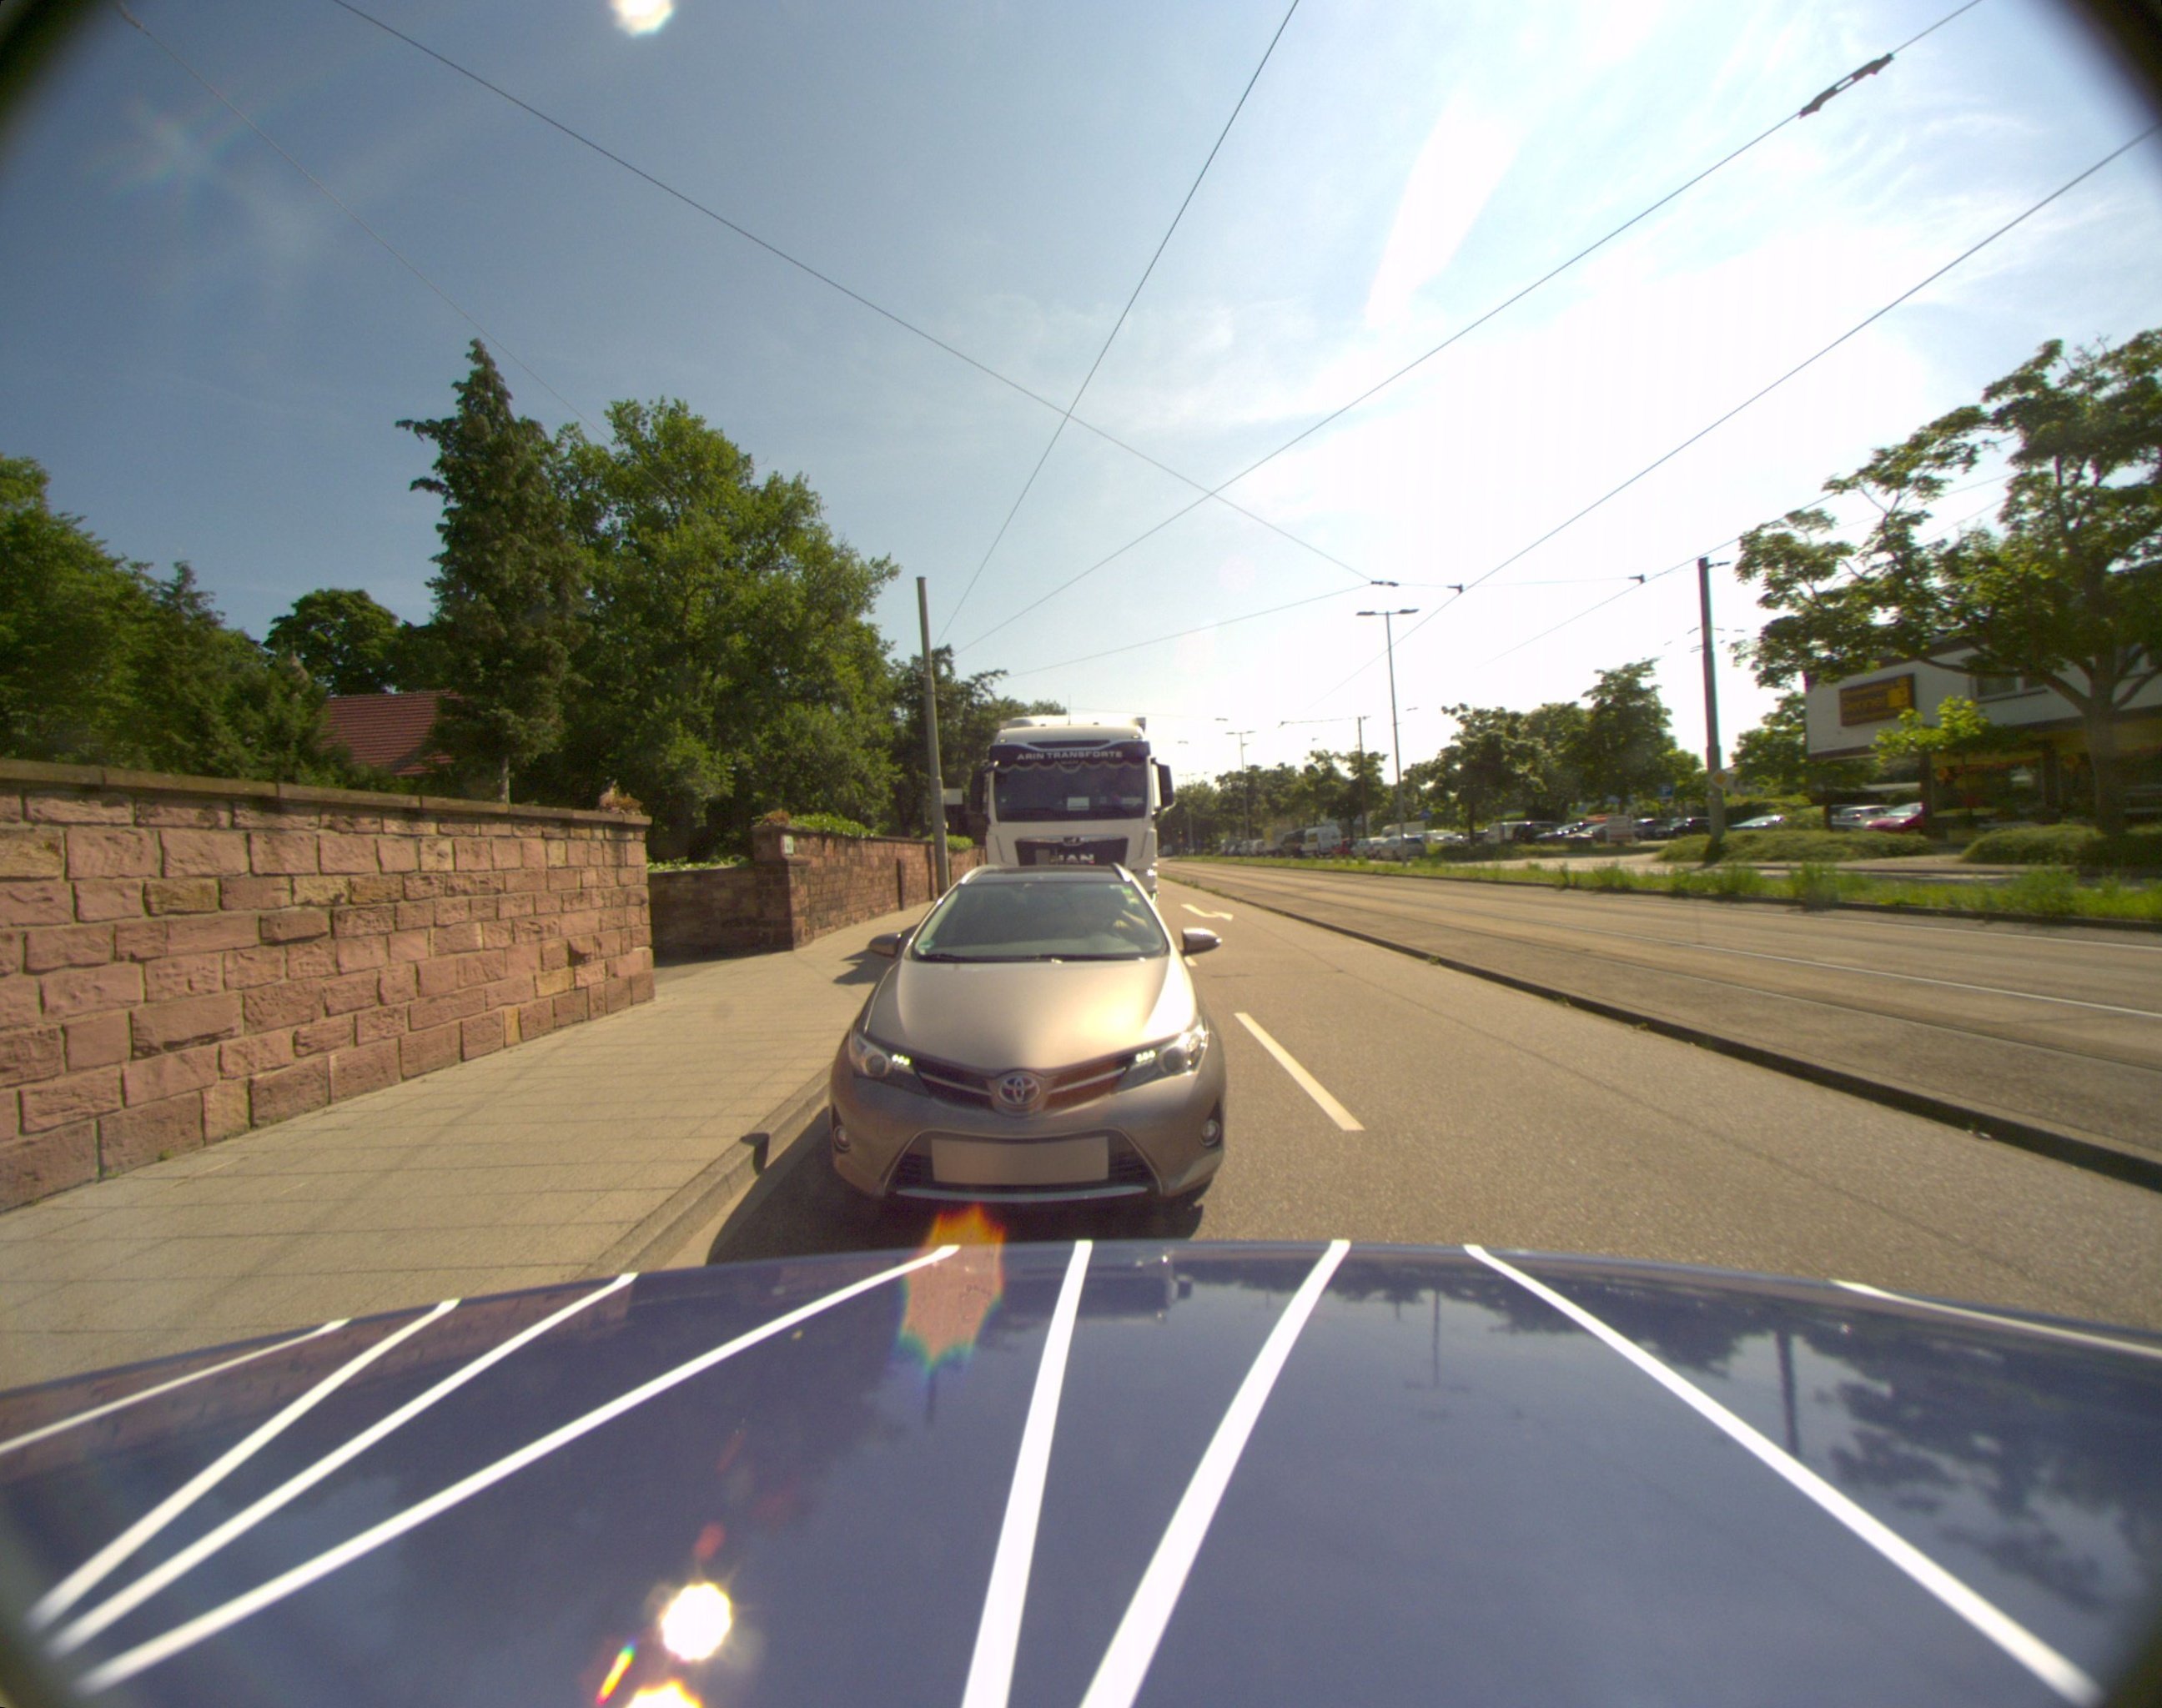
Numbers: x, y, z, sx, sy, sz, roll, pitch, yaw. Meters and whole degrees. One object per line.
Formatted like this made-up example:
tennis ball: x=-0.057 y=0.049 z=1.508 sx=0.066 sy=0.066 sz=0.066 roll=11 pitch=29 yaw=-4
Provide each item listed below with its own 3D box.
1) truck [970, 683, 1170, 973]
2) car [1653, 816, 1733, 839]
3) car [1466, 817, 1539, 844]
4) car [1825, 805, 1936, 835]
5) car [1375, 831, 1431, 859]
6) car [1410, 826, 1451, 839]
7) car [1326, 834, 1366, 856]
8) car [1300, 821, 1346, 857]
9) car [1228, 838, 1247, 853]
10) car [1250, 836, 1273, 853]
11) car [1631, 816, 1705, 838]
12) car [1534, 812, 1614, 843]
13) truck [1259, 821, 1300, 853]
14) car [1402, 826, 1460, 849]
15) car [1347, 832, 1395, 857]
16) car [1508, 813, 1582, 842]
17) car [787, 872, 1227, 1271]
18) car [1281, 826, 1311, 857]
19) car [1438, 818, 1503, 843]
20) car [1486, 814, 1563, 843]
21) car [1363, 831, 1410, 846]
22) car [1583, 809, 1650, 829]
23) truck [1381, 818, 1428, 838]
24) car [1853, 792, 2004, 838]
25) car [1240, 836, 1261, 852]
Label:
truck: x=-0.054 y=-0.406 z=15.082 sx=2.628 sy=3.906 sz=9.285 roll=-2 pitch=1 yaw=1
car: x=44.049 y=-1.899 z=54.747 sx=4.252 sy=1.327 sz=1.676 roll=-3 pitch=0 yaw=2
car: x=30.534 y=-1.687 z=55.137 sx=4.117 sy=1.728 sz=1.990 roll=-3 pitch=1 yaw=-2
car: x=44.297 y=-1.874 z=42.169 sx=4.252 sy=1.327 sz=1.676 roll=-3 pitch=0 yaw=2
car: x=20.334 y=-0.570 z=48.215 sx=1.675 sy=1.524 sz=4.256 roll=-6 pitch=0 yaw=1
car: x=43.740 y=-2.629 z=95.106 sx=4.253 sy=1.327 sz=1.676 roll=-3 pitch=0 yaw=1
car: x=20.476 y=-0.673 z=58.754 sx=1.675 sy=1.524 sz=3.793 roll=-6 pitch=0 yaw=1
car: x=20.284 y=-1.229 z=63.989 sx=2.062 sy=2.638 sz=5.203 roll=-6 pitch=0 yaw=1
car: x=20.626 y=-1.093 z=100.071 sx=1.502 sy=1.775 sz=3.687 roll=-6 pitch=0 yaw=0
car: x=20.699 y=-1.059 z=87.371 sx=1.502 sy=1.793 sz=4.633 roll=-6 pitch=0 yaw=1
car: x=44.294 y=-2.038 z=57.390 sx=4.252 sy=1.327 sz=1.676 roll=-3 pitch=0 yaw=2
car: x=30.512 y=-1.623 z=47.113 sx=3.810 sy=1.625 sz=1.676 roll=-3 pitch=1 yaw=2
truck: x=20.523 y=-1.751 z=78.834 sx=2.508 sy=2.917 sz=5.903 roll=-6 pitch=0 yaw=2
car: x=31.170 y=-1.405 z=67.878 sx=2.594 sy=1.800 sz=5.741 roll=-3 pitch=0 yaw=2
car: x=20.446 y=-0.630 z=53.656 sx=1.675 sy=1.524 sz=4.256 roll=-6 pitch=0 yaw=1
car: x=30.578 y=-1.719 z=50.160 sx=3.810 sy=1.625 sz=1.676 roll=-3 pitch=1 yaw=2
car: x=-0.265 y=0.893 z=4.932 sx=1.654 sy=1.374 sz=4.000 roll=-2 pitch=0 yaw=1
car: x=19.867 y=-1.150 z=70.377 sx=1.502 sy=2.609 sz=4.007 roll=-6 pitch=0 yaw=1
car: x=31.234 y=-1.838 z=60.975 sx=4.117 sy=1.728 sz=1.990 roll=-3 pitch=1 yaw=-2
car: x=30.694 y=-1.774 z=52.666 sx=4.117 sy=1.728 sz=1.990 roll=-3 pitch=1 yaw=-2
car: x=32.318 y=-1.598 z=80.394 sx=4.253 sy=1.327 sz=1.676 roll=-3 pitch=0 yaw=1
car: x=44.027 y=-2.853 z=62.511 sx=4.254 sy=1.327 sz=1.676 roll=-3 pitch=0 yaw=-1
truck: x=44.793 y=-3.575 z=105.212 sx=5.652 sy=2.367 sz=1.990 roll=-3 pitch=1 yaw=-2
car: x=35.260 y=-1.585 z=31.680 sx=4.252 sy=1.595 sz=1.676 roll=-3 pitch=1 yaw=2
car: x=20.966 y=-1.191 z=94.218 sx=1.502 sy=1.835 sz=4.059 roll=-6 pitch=0 yaw=0
